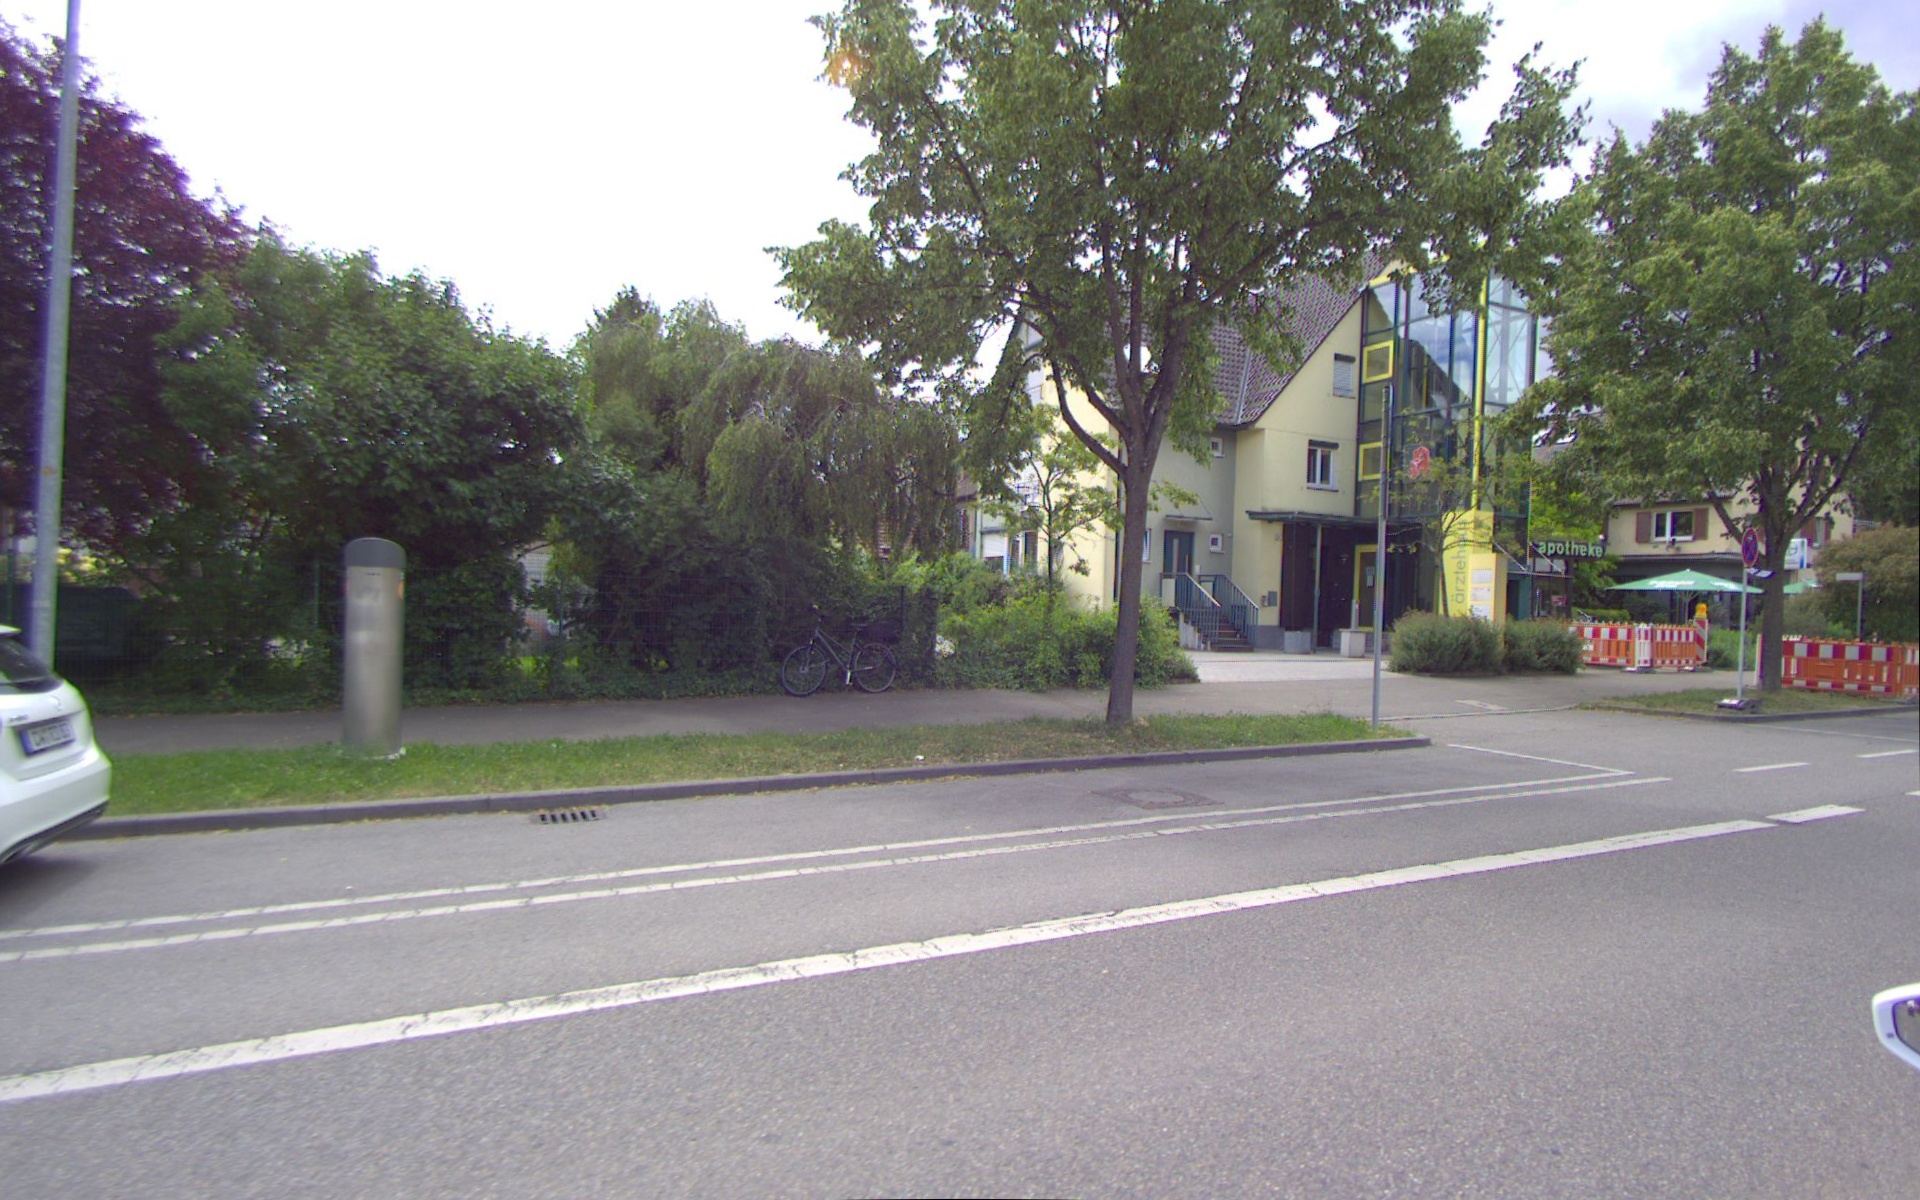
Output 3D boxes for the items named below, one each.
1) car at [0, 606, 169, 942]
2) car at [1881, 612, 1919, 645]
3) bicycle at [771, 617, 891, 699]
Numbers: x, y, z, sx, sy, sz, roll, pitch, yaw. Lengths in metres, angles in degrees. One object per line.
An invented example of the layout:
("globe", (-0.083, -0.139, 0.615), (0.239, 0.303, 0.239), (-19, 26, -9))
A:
("car", (-6.311, 0.718, 4.304), (4.239, 1.425, 1.710), (1, -1, -24))
("car", (53.368, 1.606, 55.006), (1.722, 1.793, 3.975), (2, 0, -25))
("bicycle", (-1.755, 0.778, 13.760), (1.564, 1.062, 0.459), (1, 0, -32))
